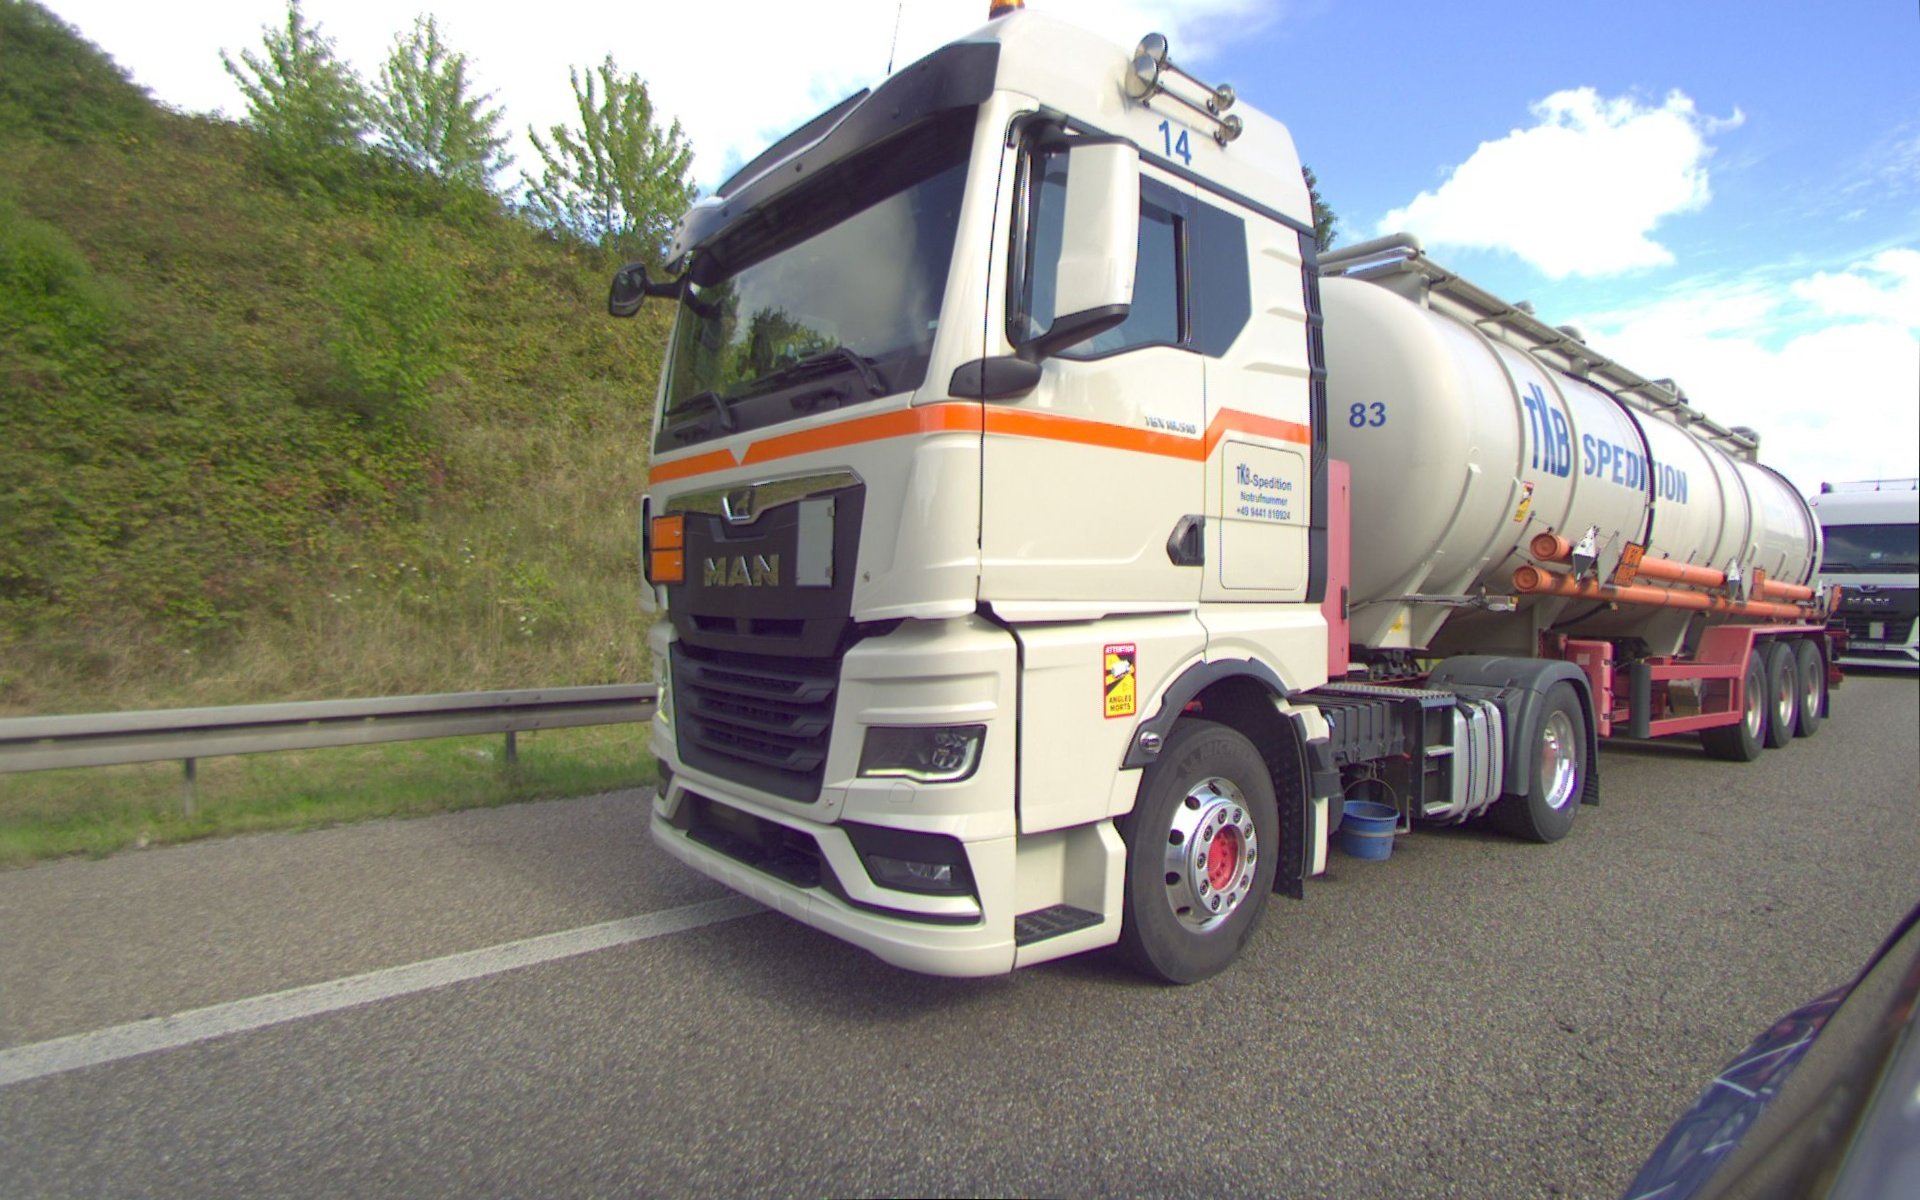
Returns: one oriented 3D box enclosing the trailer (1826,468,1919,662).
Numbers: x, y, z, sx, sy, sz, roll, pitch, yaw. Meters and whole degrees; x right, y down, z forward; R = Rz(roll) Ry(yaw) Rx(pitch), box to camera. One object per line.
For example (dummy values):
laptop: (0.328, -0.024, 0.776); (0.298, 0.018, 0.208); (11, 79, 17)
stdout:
trailer: (25.334, -0.781, 25.699); (13.132, 4.122, 2.832); (0, 1, -39)

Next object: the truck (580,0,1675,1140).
truck: (1.319, -0.695, 5.540); (5.798, 4.094, 2.809); (0, 1, -39)

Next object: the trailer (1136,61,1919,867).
trailer: (6.395, -0.737, 9.708); (10.981, 4.077, 2.804); (0, 1, -39)

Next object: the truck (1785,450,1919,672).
truck: (19.655, -0.746, 21.026); (5.605, 4.122, 2.840); (0, 1, -39)
